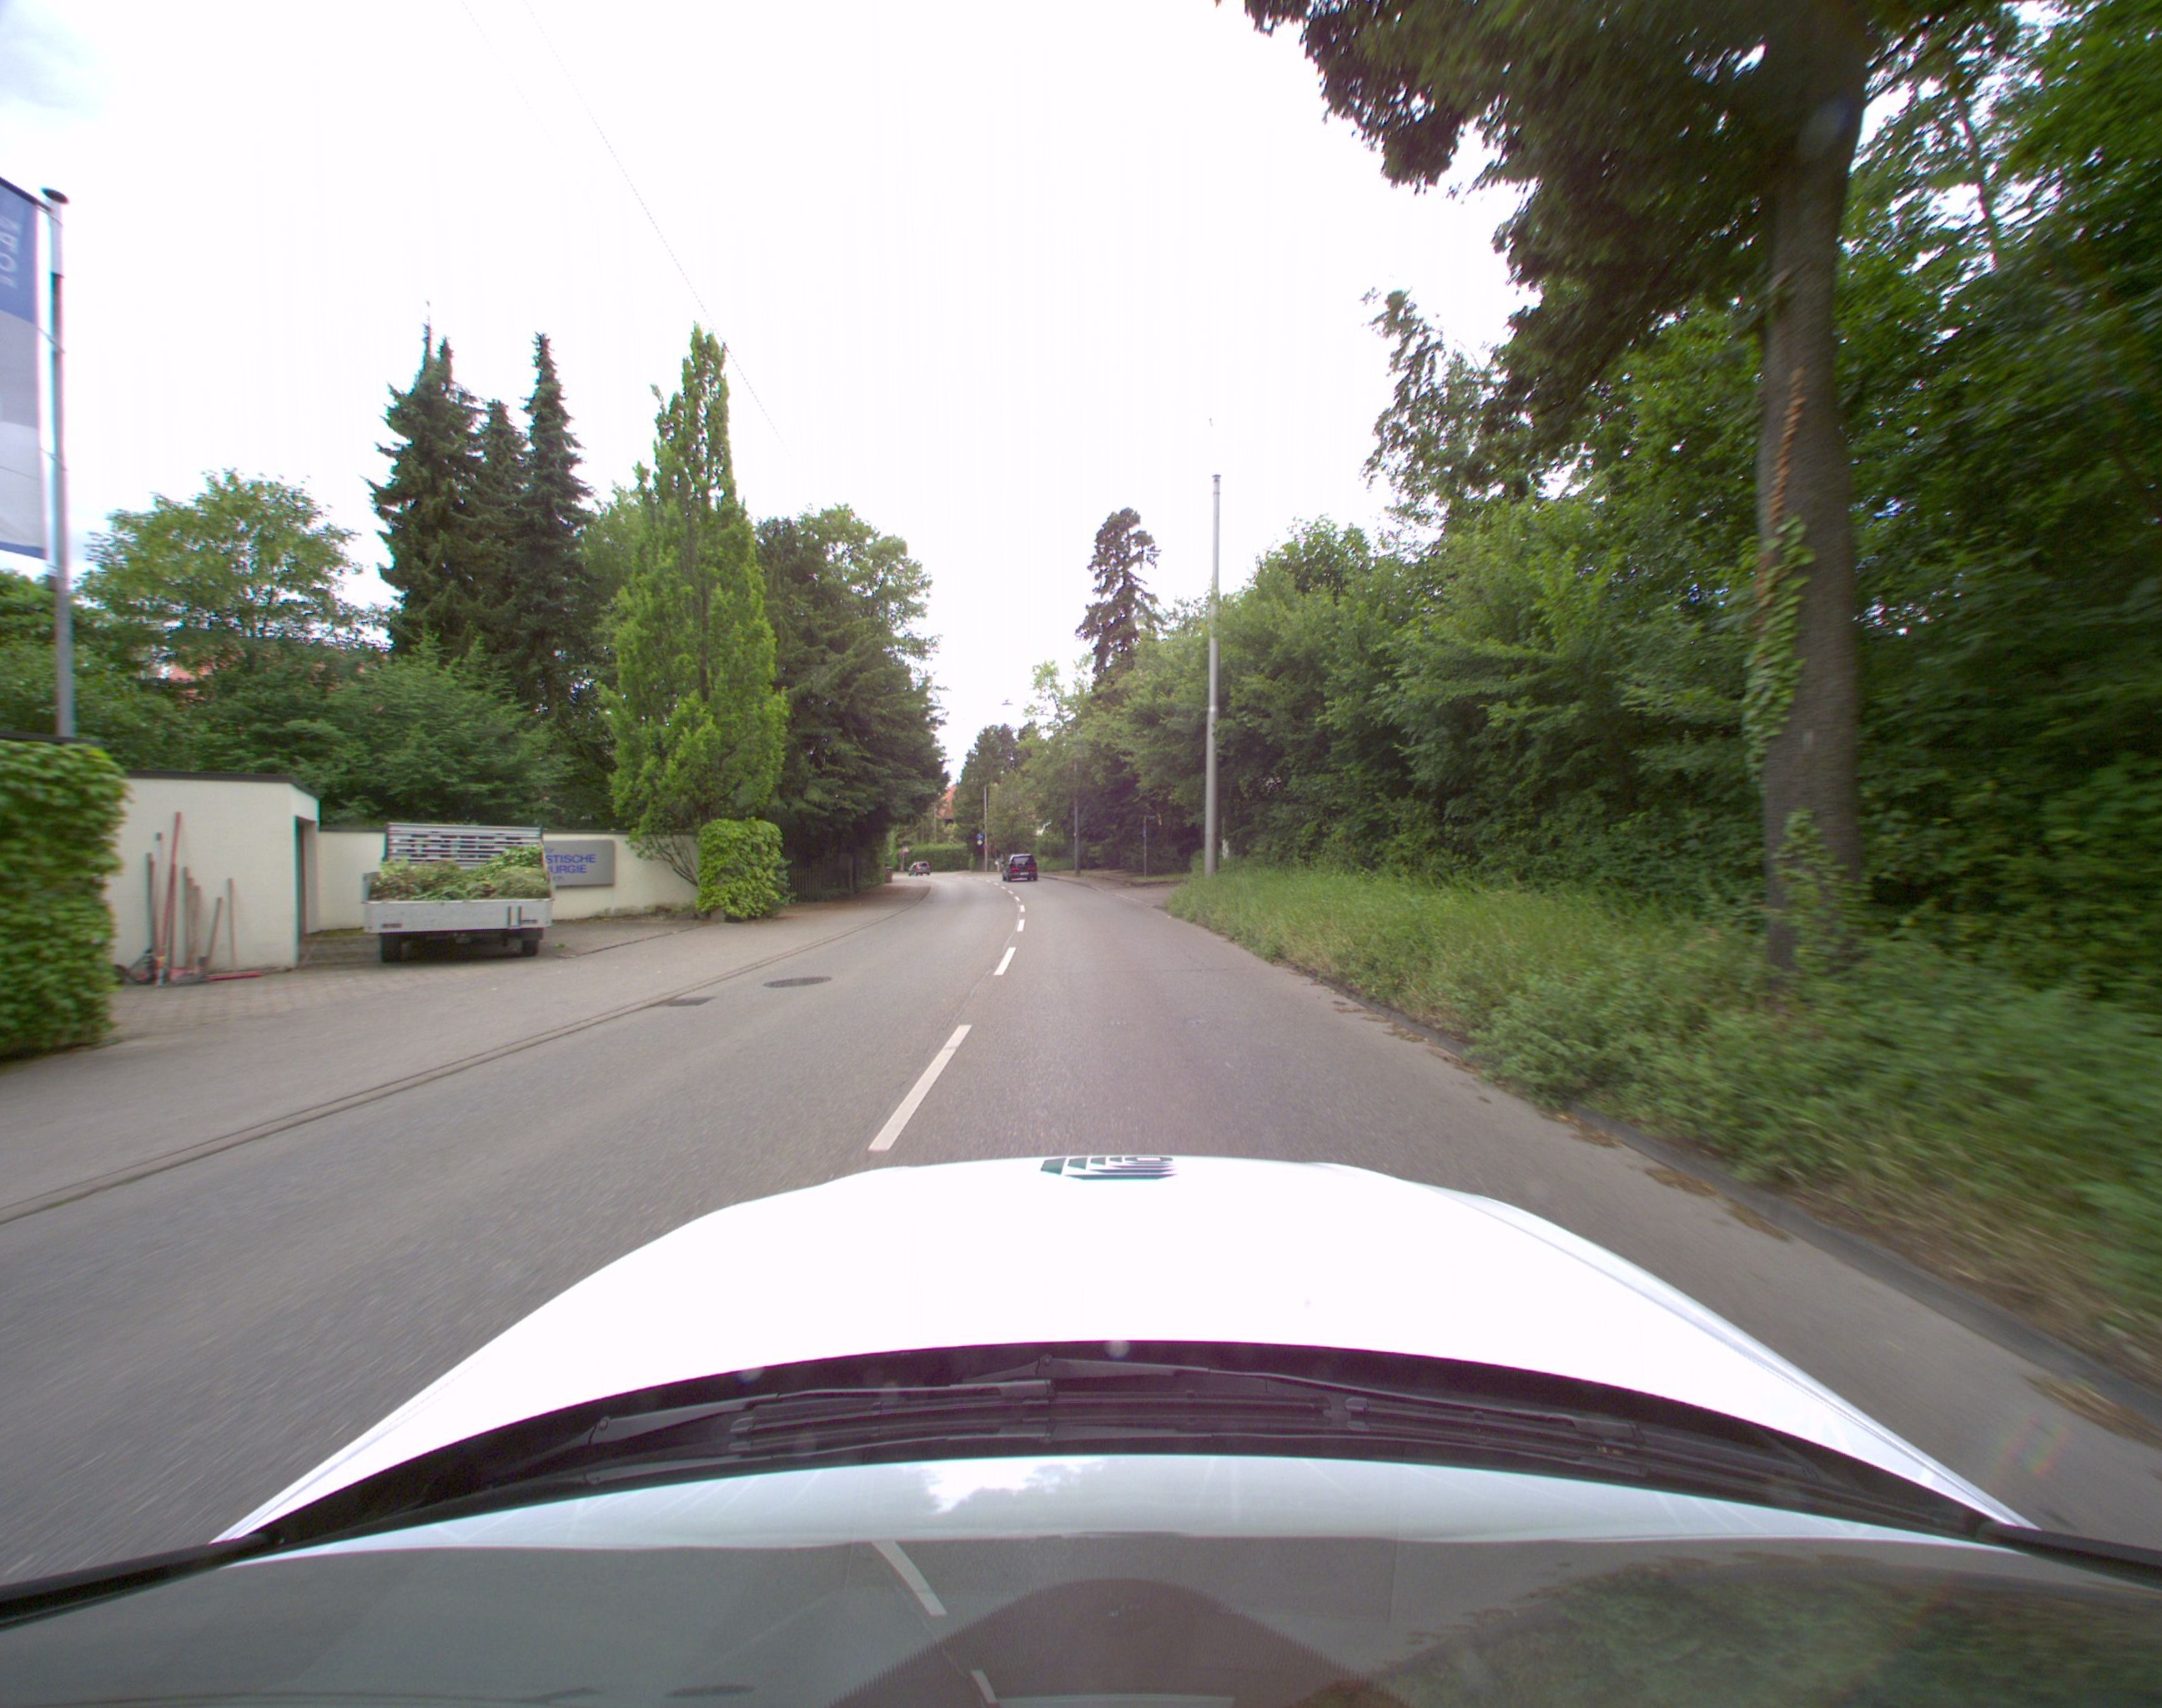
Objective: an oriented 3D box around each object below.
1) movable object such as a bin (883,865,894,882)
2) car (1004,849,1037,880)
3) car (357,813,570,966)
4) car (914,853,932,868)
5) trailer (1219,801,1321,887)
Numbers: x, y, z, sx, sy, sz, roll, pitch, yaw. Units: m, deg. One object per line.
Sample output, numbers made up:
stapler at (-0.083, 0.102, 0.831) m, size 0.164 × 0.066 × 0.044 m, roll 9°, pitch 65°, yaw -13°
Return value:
movable object such as a bin at (-13.111, 1.324, 55.460) m, size 0.742 × 1.141 × 0.643 m, roll 1°, pitch -1°, yaw -14°
car at (-3.814, 0.625, 51.918) m, size 1.989 × 1.881 × 3.996 m, roll 0°, pitch 1°, yaw -3°
car at (-10.359, 0.485, 13.875) m, size 2.437 × 2.073 × 5.302 m, roll 0°, pitch 0°, yaw -36°
car at (-18.283, 0.765, 94.205) m, size 1.995 × 1.618 × 3.985 m, roll 0°, pitch 1°, yaw -11°
trailer at (6.696, -0.355, 28.963) m, size 3.115 × 2.899 × 1.588 m, roll -2°, pitch 0°, yaw -9°
